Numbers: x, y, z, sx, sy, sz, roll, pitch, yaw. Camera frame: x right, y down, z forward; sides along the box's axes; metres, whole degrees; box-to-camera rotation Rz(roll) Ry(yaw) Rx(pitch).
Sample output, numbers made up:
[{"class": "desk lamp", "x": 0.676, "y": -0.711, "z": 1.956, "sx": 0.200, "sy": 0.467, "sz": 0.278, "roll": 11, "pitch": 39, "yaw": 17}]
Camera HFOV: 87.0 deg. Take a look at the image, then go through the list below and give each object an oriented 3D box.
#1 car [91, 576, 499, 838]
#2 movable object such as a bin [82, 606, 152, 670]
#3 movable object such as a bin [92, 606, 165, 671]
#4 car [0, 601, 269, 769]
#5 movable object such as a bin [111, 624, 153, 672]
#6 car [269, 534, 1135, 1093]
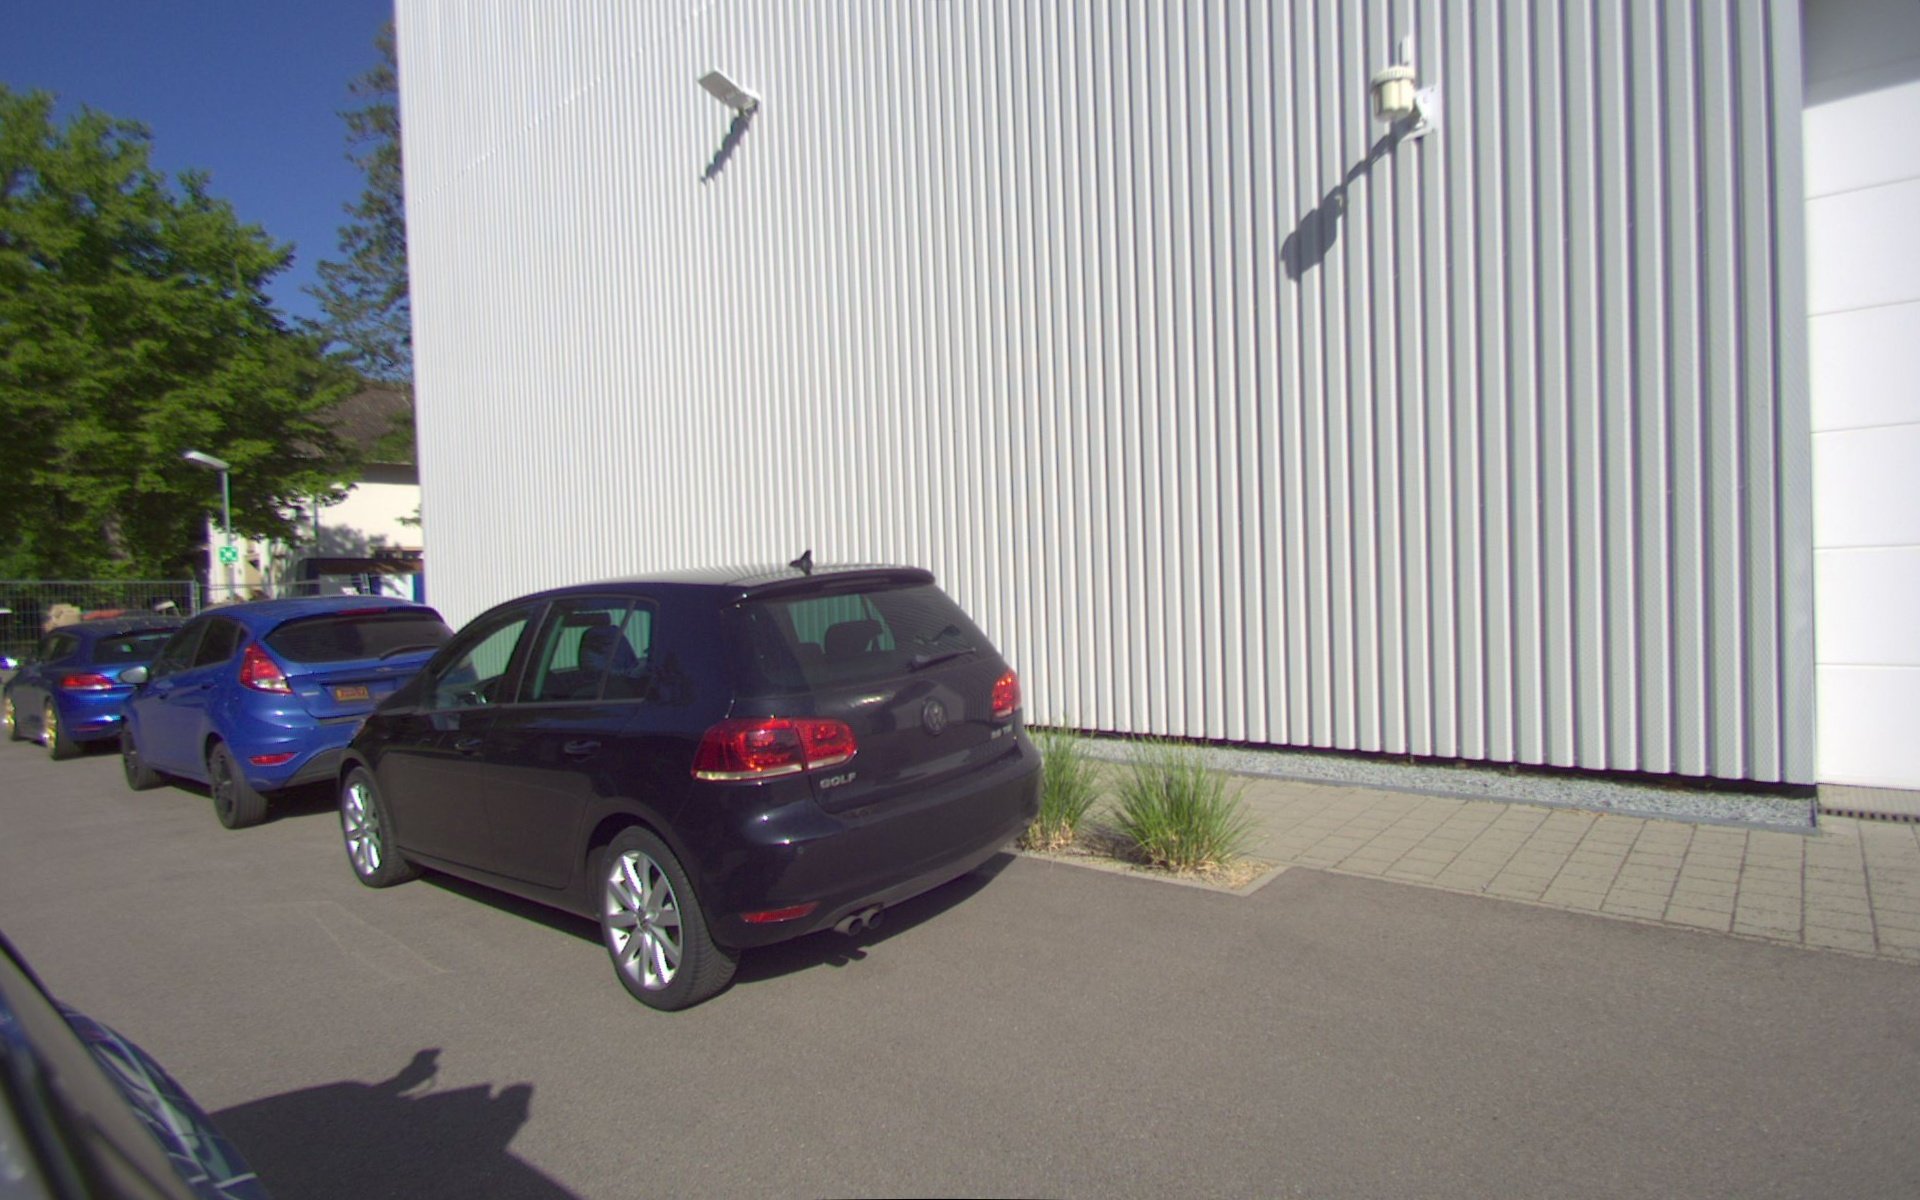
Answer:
[{"class": "car", "x": -5.188, "y": 0.683, "z": 7.747, "sx": 3.518, "sy": 1.499, "sz": 1.533, "roll": -2, "pitch": 2, "yaw": 39}, {"class": "movable object such as a bin", "x": -20.529, "y": 0.923, "z": 24.642, "sx": 1.279, "sy": 1.489, "sz": 1.126, "roll": -3, "pitch": -2, "yaw": 41}, {"class": "movable object such as a bin", "x": -19.506, "y": 0.890, "z": 23.741, "sx": 1.288, "sy": 1.445, "sz": 1.126, "roll": -2, "pitch": -1, "yaw": 41}, {"class": "car", "x": -9.397, "y": 0.858, "z": 11.294, "sx": 3.794, "sy": 1.459, "sz": 1.695, "roll": -2, "pitch": 2, "yaw": 39}, {"class": "movable object such as a bin", "x": -18.704, "y": 1.077, "z": 22.850, "sx": 0.678, "sy": 1.031, "sz": 0.707, "roll": -1, "pitch": -2, "yaw": -44}, {"class": "car", "x": -1.532, "y": 0.597, "z": 4.787, "sx": 4.312, "sy": 1.456, "sz": 1.739, "roll": -2, "pitch": 3, "yaw": 41}]
